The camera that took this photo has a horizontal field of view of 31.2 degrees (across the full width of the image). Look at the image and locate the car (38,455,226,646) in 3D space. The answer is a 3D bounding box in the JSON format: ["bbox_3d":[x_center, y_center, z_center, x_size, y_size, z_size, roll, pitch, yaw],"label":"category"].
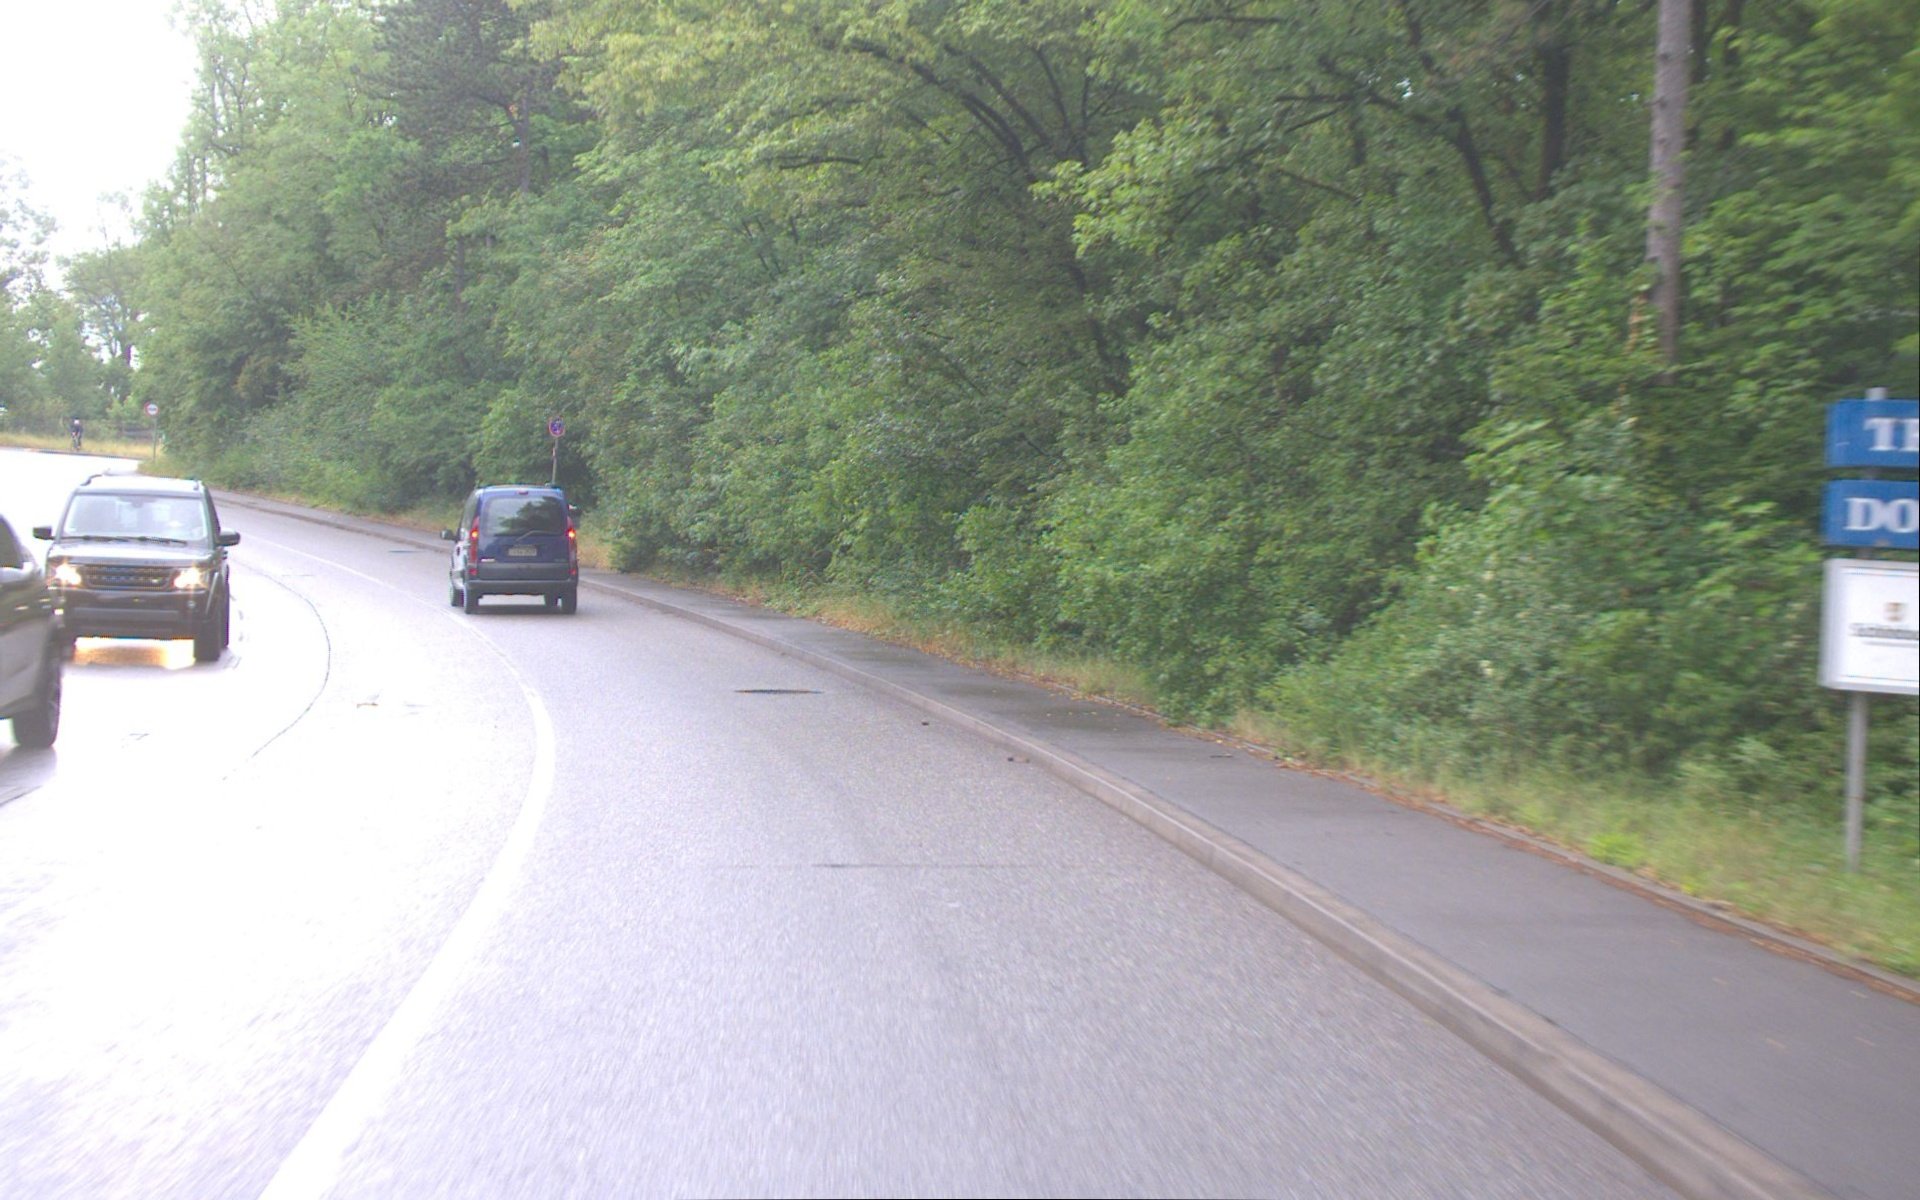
[{"bbox_3d":[-9.071,-0.608,37.478,1.826,1.836,4.713,-2,4,-15],"label":"car"}]

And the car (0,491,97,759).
[{"bbox_3d":[-6.705,0.092,21.601,1.808,1.589,4.519,2,1,-6],"label":"car"}]

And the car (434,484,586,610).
[{"bbox_3d":[-6.693,-0.800,50.874,1.826,1.787,4.001,0,1,-13],"label":"car"}]
